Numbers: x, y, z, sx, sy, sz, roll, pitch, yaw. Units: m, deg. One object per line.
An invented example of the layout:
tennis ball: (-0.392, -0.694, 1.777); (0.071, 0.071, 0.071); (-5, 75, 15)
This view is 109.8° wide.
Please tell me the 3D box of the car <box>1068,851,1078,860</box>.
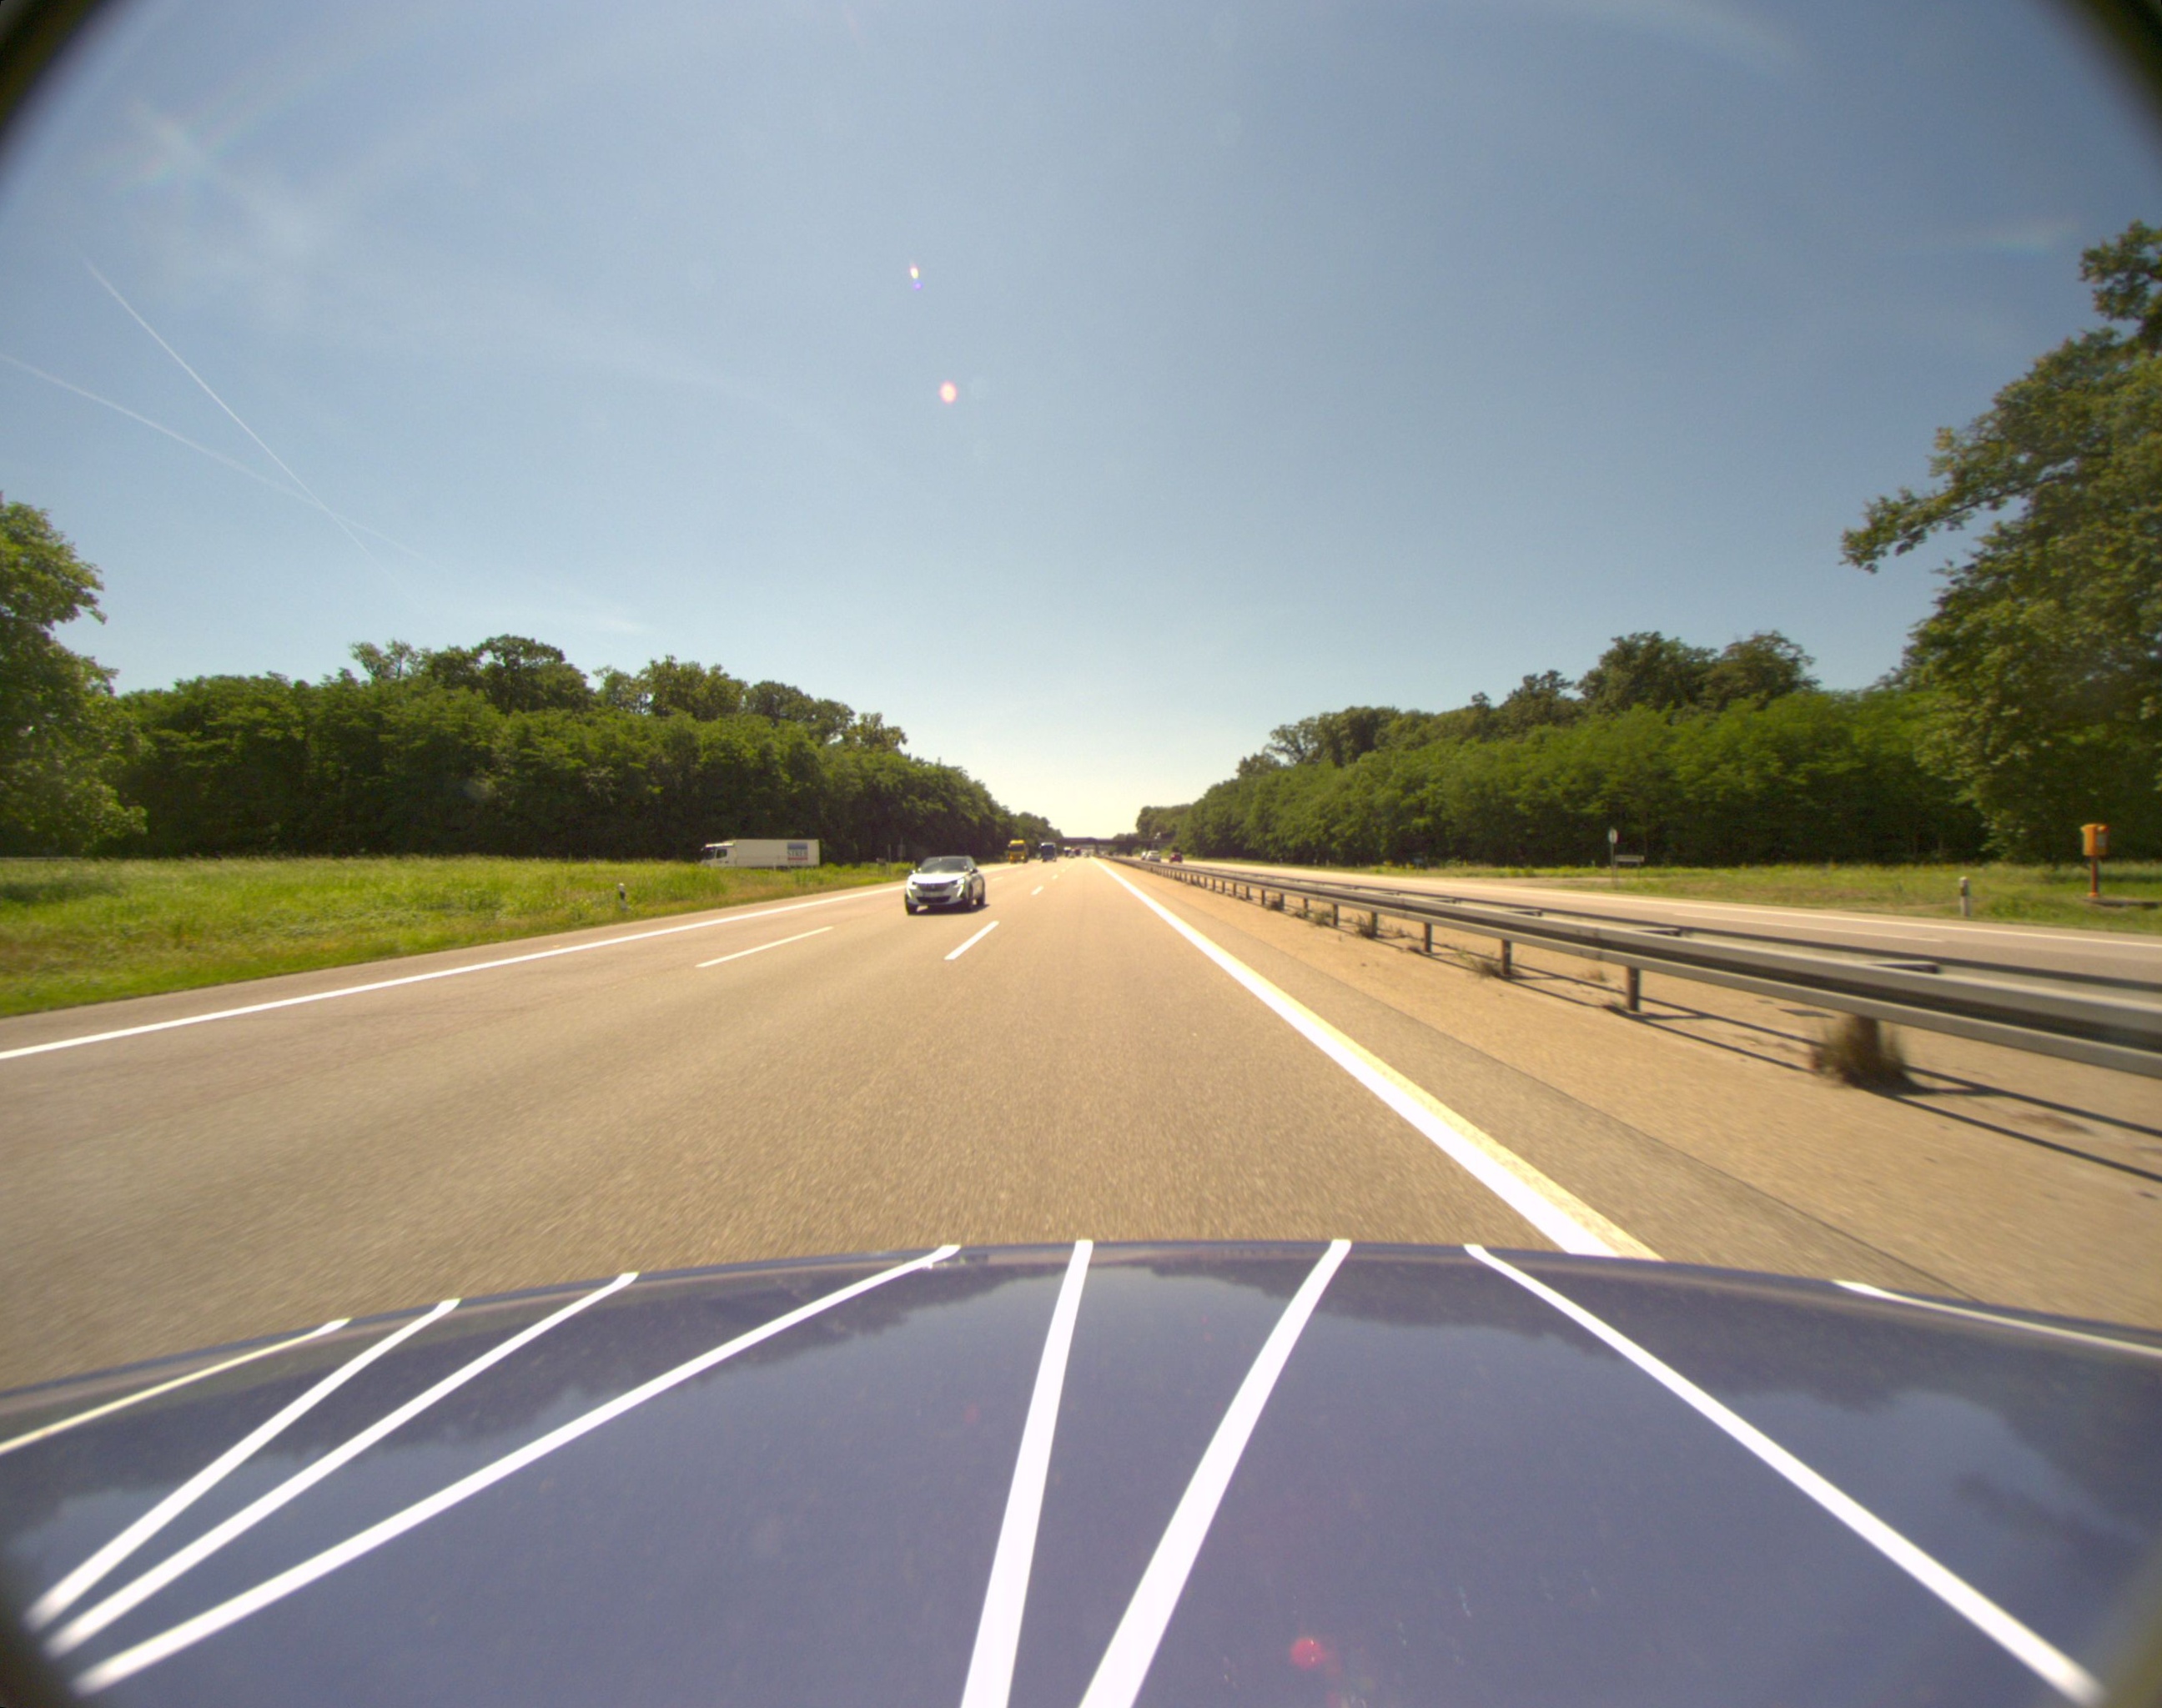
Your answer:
car: (-2.258, 0.374, 220.930); (2.616, 2.389, 7.122); (-2, 0, 0)

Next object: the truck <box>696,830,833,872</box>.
truck: (-27.697, -0.340, 67.161); (3.030, 3.300, 10.791); (-1, 1, 41)

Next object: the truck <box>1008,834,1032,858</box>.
truck: (-10.840, -1.452, 136.408); (2.982, 4.013, 10.981); (-3, 0, 2)

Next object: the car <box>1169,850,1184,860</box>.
car: (14.501, 0.085, 115.632); (1.767, 1.486, 4.074); (1, 1, 0)

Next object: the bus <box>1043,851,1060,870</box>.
bus: (-5.616, 1.181, 147.909); (2.617, 3.532, 13.681); (-2, 0, 0)

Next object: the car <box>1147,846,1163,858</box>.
car: (10.628, -0.354, 109.094); (1.815, 1.683, 5.124); (-1, 0, 1)

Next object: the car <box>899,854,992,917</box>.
car: (-3.859, 0.831, 22.480); (1.832, 1.599, 4.808); (-1, 0, 0)

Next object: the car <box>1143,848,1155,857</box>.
car: (12.585, -0.253, 141.368); (1.767, 1.683, 4.818); (-1, 1, 1)
